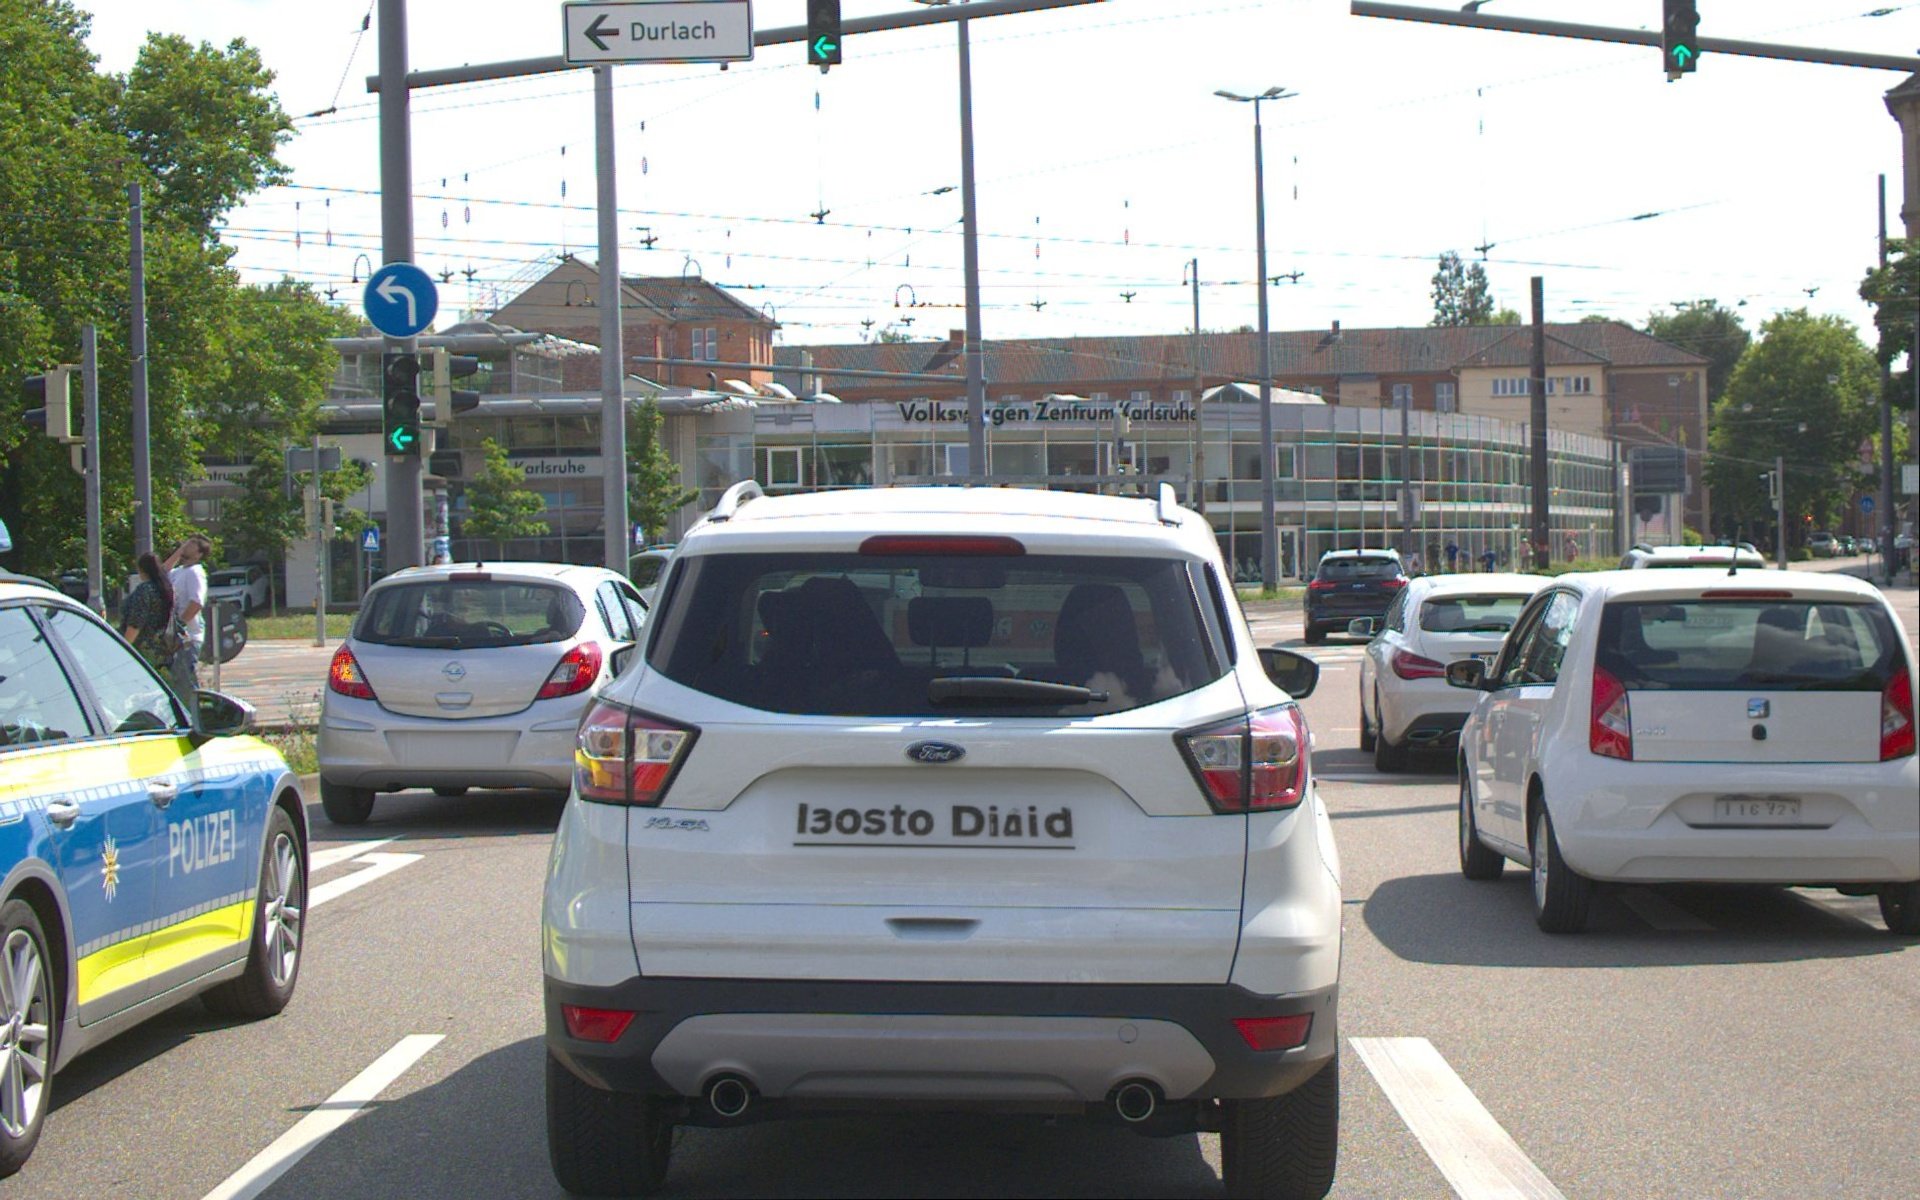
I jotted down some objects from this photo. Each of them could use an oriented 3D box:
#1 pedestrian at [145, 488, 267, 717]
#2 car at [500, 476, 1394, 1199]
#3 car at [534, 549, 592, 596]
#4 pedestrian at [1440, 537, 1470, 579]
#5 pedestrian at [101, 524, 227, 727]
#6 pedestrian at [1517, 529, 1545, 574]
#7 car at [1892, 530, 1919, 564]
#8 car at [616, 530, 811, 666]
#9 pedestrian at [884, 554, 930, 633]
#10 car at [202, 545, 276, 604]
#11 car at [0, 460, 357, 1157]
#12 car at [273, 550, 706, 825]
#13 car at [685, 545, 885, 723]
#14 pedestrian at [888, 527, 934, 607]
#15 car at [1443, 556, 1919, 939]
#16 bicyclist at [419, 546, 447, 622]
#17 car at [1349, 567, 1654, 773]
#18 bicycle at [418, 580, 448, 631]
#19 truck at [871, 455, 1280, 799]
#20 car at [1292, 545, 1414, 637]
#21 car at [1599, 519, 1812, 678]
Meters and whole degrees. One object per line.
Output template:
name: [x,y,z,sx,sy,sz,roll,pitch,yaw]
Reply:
pedestrian: [-6.398,0.019,29.197,0.847,1.910,0.692,-1,0,-1]
car: [0.075,0.558,9.024,1.827,1.658,3.955,0,1,3]
car: [-14.000,-0.970,121.375,1.818,1.528,3.917,-2,0,-4]
pedestrian: [20.471,-1.744,142.219,0.877,1.731,0.874,1,0,36]
pedestrian: [-6.571,0.208,28.415,0.847,1.642,0.692,-1,0,-1]
pedestrian: [24.715,-2.102,148.816,0.877,1.915,0.874,1,0,33]
car: [46.689,-2.574,168.149,1.838,1.646,3.996,0,0,20]
car: [-3.073,-0.056,42.048,2.039,1.573,4.540,0,1,-8]
pedestrian: [-1.186,-0.145,76.894,0.924,1.738,0.589,1,0,8]
car: [-25.789,-0.892,123.041,1.993,2.007,4.231,-2,0,-4]
car: [-3.056,0.455,9.325,1.880,1.563,4.615,-1,1,2]
car: [-2.703,0.449,20.658,1.848,1.469,4.000,1,1,3]
car: [-1.612,0.277,32.928,1.762,1.563,4.527,-1,1,-1]
pedestrian: [-1.084,-0.730,75.812,0.924,1.738,0.589,1,0,7]
car: [3.207,0.544,15.263,1.649,1.417,4.000,-1,1,2]
bicyclist: [-12.145,-0.372,79.221,0.637,1.732,0.662,0,1,-10]
car: [3.941,0.463,25.558,1.850,1.414,3.679,0,1,3]
bicycle: [-12.170,0.113,79.342,0.637,1.121,1.785,-1,1,-10]
truck: [0.987,0.119,24.519,2.339,2.148,5.850,0,1,8]
car: [6.232,-0.157,54.541,1.850,1.414,3.678,0,1,6]
car: [8.139,-0.025,37.831,1.837,1.646,3.999,0,0,6]
